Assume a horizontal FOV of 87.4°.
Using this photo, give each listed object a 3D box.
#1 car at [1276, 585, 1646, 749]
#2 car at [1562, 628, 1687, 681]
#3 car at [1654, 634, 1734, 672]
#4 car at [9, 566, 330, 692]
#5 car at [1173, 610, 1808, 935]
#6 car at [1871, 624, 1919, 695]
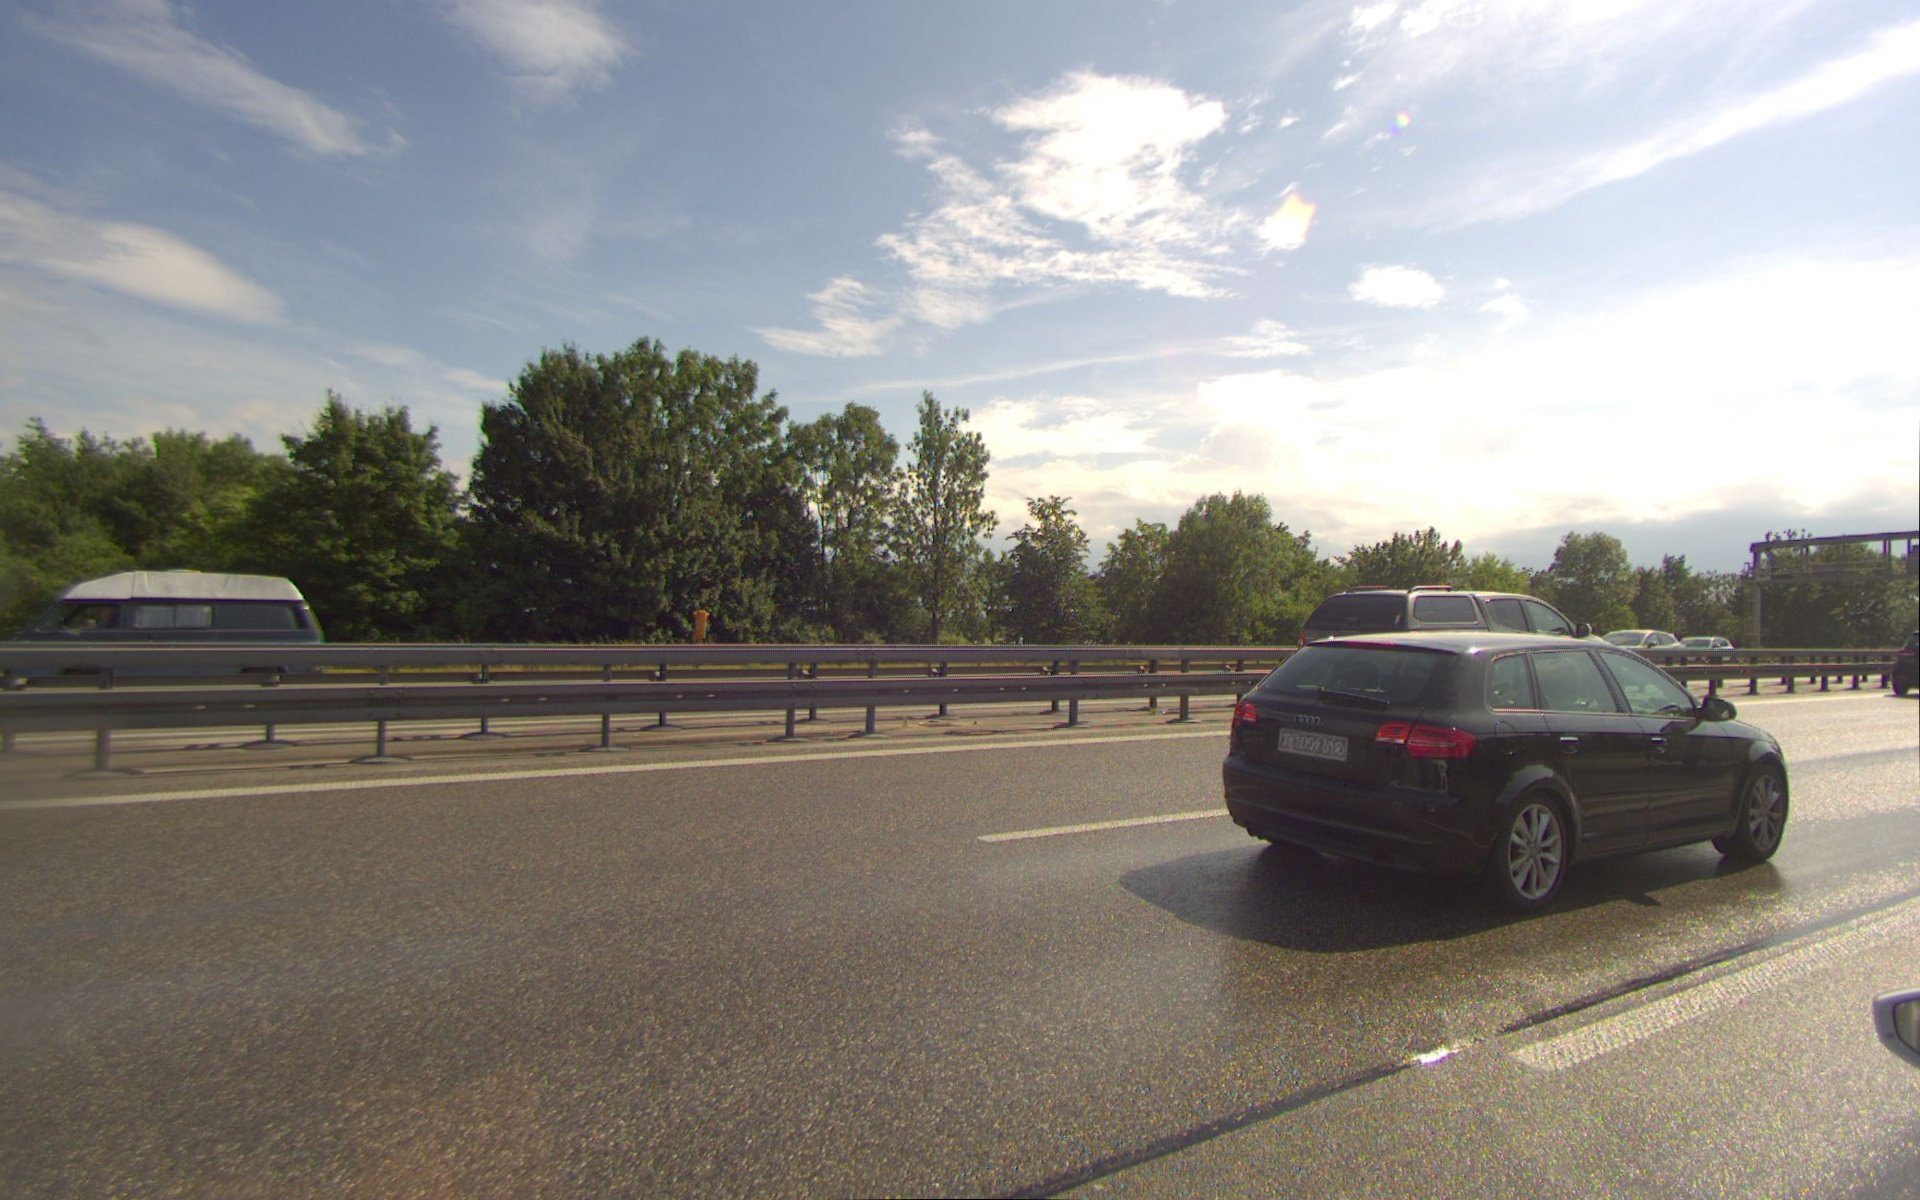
[{"bbox_3d":[6.875,0.825,13.585,5.353,1.868,1.798,2,0,-29],"label":"car"},{"bbox_3d":[20.167,1.621,30.457,3.593,1.471,1.835,2,0,-32],"label":"car"},{"bbox_3d":[34.166,2.443,46.711,3.768,1.672,1.724,2,0,-32],"label":"car"},{"bbox_3d":[-14.033,0.523,18.246,4.314,2.040,1.983,2,0,-32],"label":"car"},{"bbox_3d":[3.447,0.838,6.358,4.008,1.452,1.741,2,0,-31],"label":"car"},{"bbox_3d":[23.857,1.432,24.253,3.872,1.599,1.773,2,0,-32],"label":"car"}]
